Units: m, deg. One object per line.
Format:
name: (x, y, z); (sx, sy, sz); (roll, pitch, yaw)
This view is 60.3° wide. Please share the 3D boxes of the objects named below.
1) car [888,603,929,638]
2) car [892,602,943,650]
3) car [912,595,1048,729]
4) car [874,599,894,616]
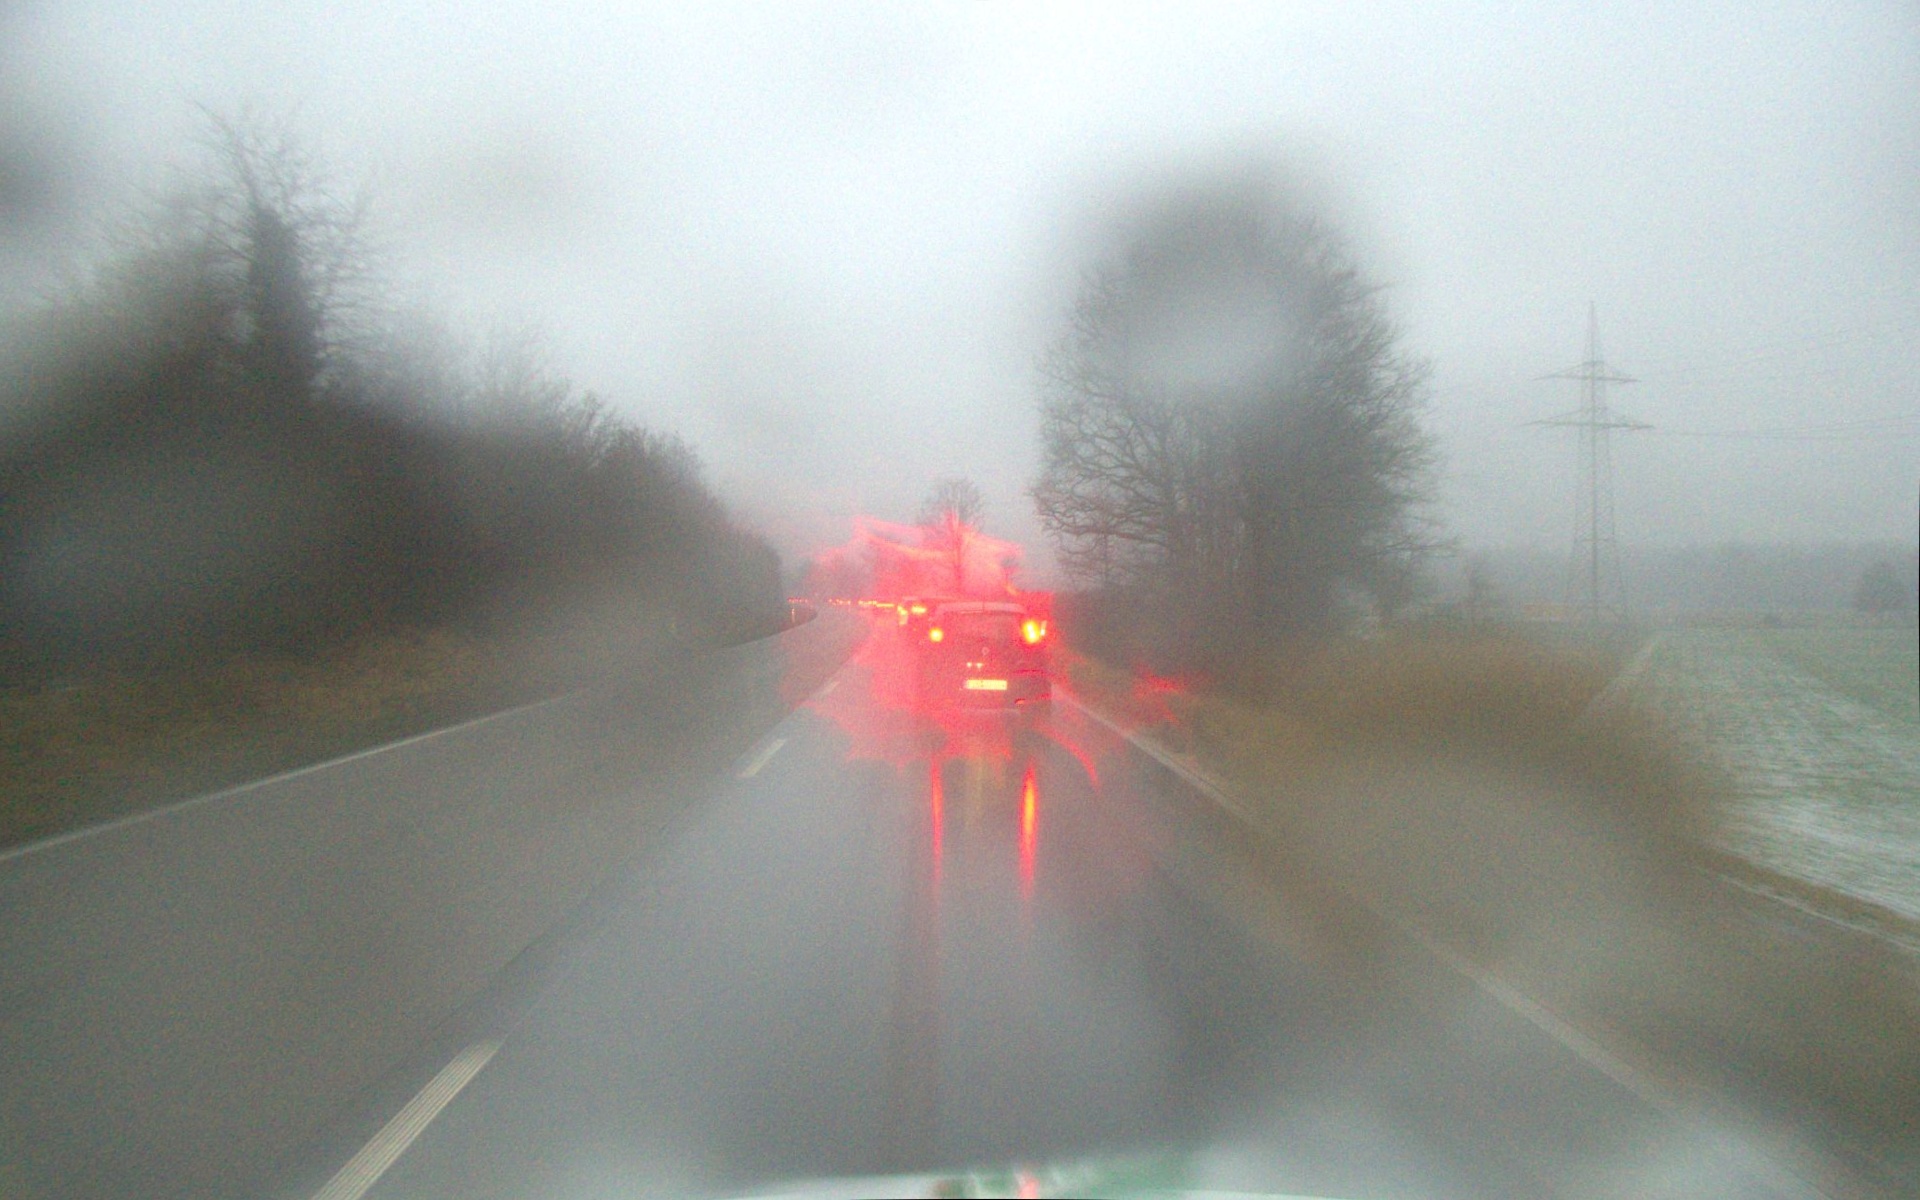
car: (-2.185, 0.857, 71.319); (1.515, 1.421, 3.870); (1, 0, 1)
car: (-1.318, 0.792, 52.033); (1.515, 1.421, 3.869); (1, 0, -1)
car: (0.308, 0.728, 21.317); (1.569, 1.549, 3.870); (1, 0, 2)
car: (-6.402, 0.605, 139.451); (1.515, 1.421, 3.869); (1, 0, 0)
